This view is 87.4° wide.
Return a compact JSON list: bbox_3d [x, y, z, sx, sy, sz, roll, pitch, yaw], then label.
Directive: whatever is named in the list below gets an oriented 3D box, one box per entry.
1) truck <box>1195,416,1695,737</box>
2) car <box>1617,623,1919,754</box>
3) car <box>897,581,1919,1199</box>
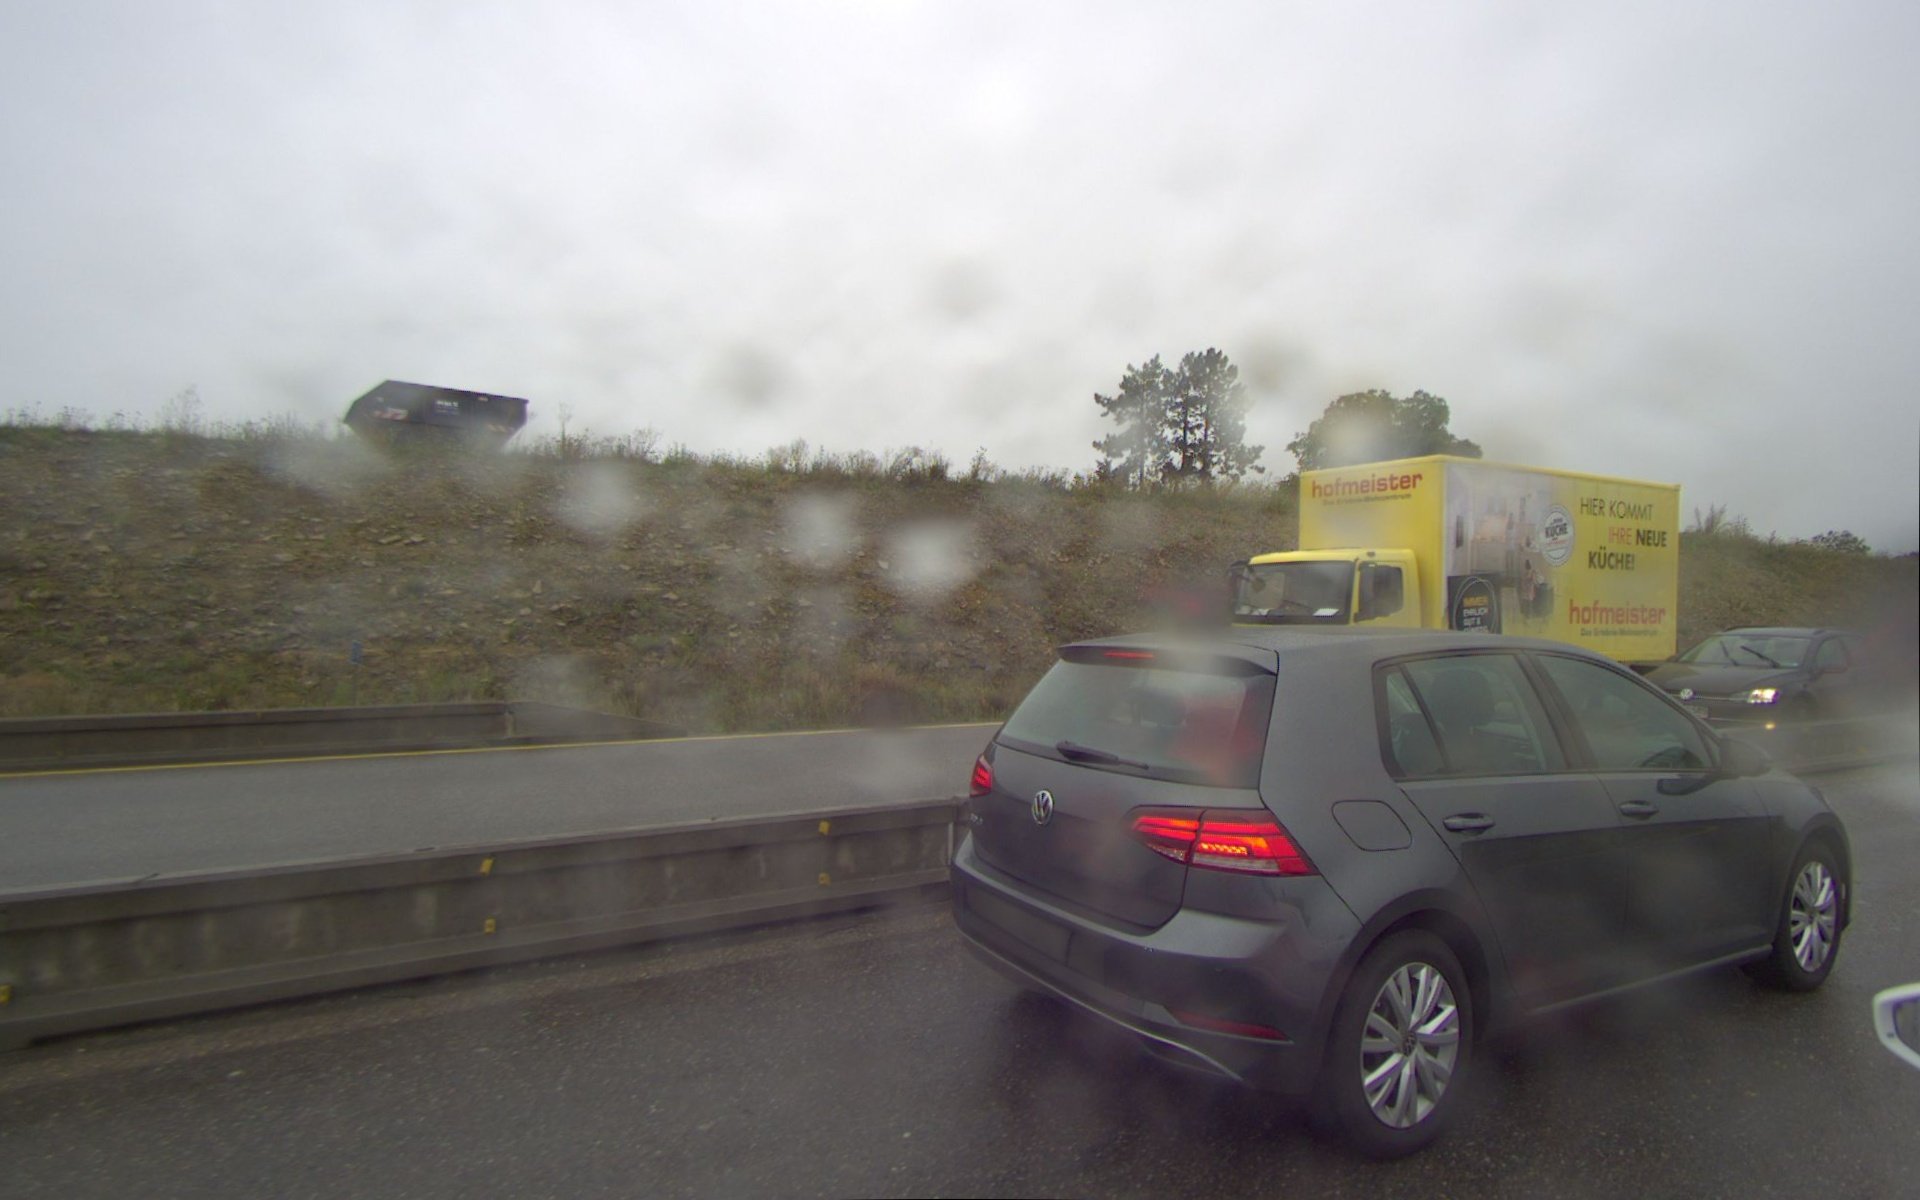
[{"bbox_3d":[7.850,-0.222,15.863,8.318,4.050,2.757,1,0,-29],"label":"truck"},{"bbox_3d":[10.819,1.070,13.320,4.065,1.425,1.859,1,0,-29],"label":"car"},{"bbox_3d":[2.023,0.781,4.075,4.317,1.526,1.606,1,-2,-31],"label":"car"}]
